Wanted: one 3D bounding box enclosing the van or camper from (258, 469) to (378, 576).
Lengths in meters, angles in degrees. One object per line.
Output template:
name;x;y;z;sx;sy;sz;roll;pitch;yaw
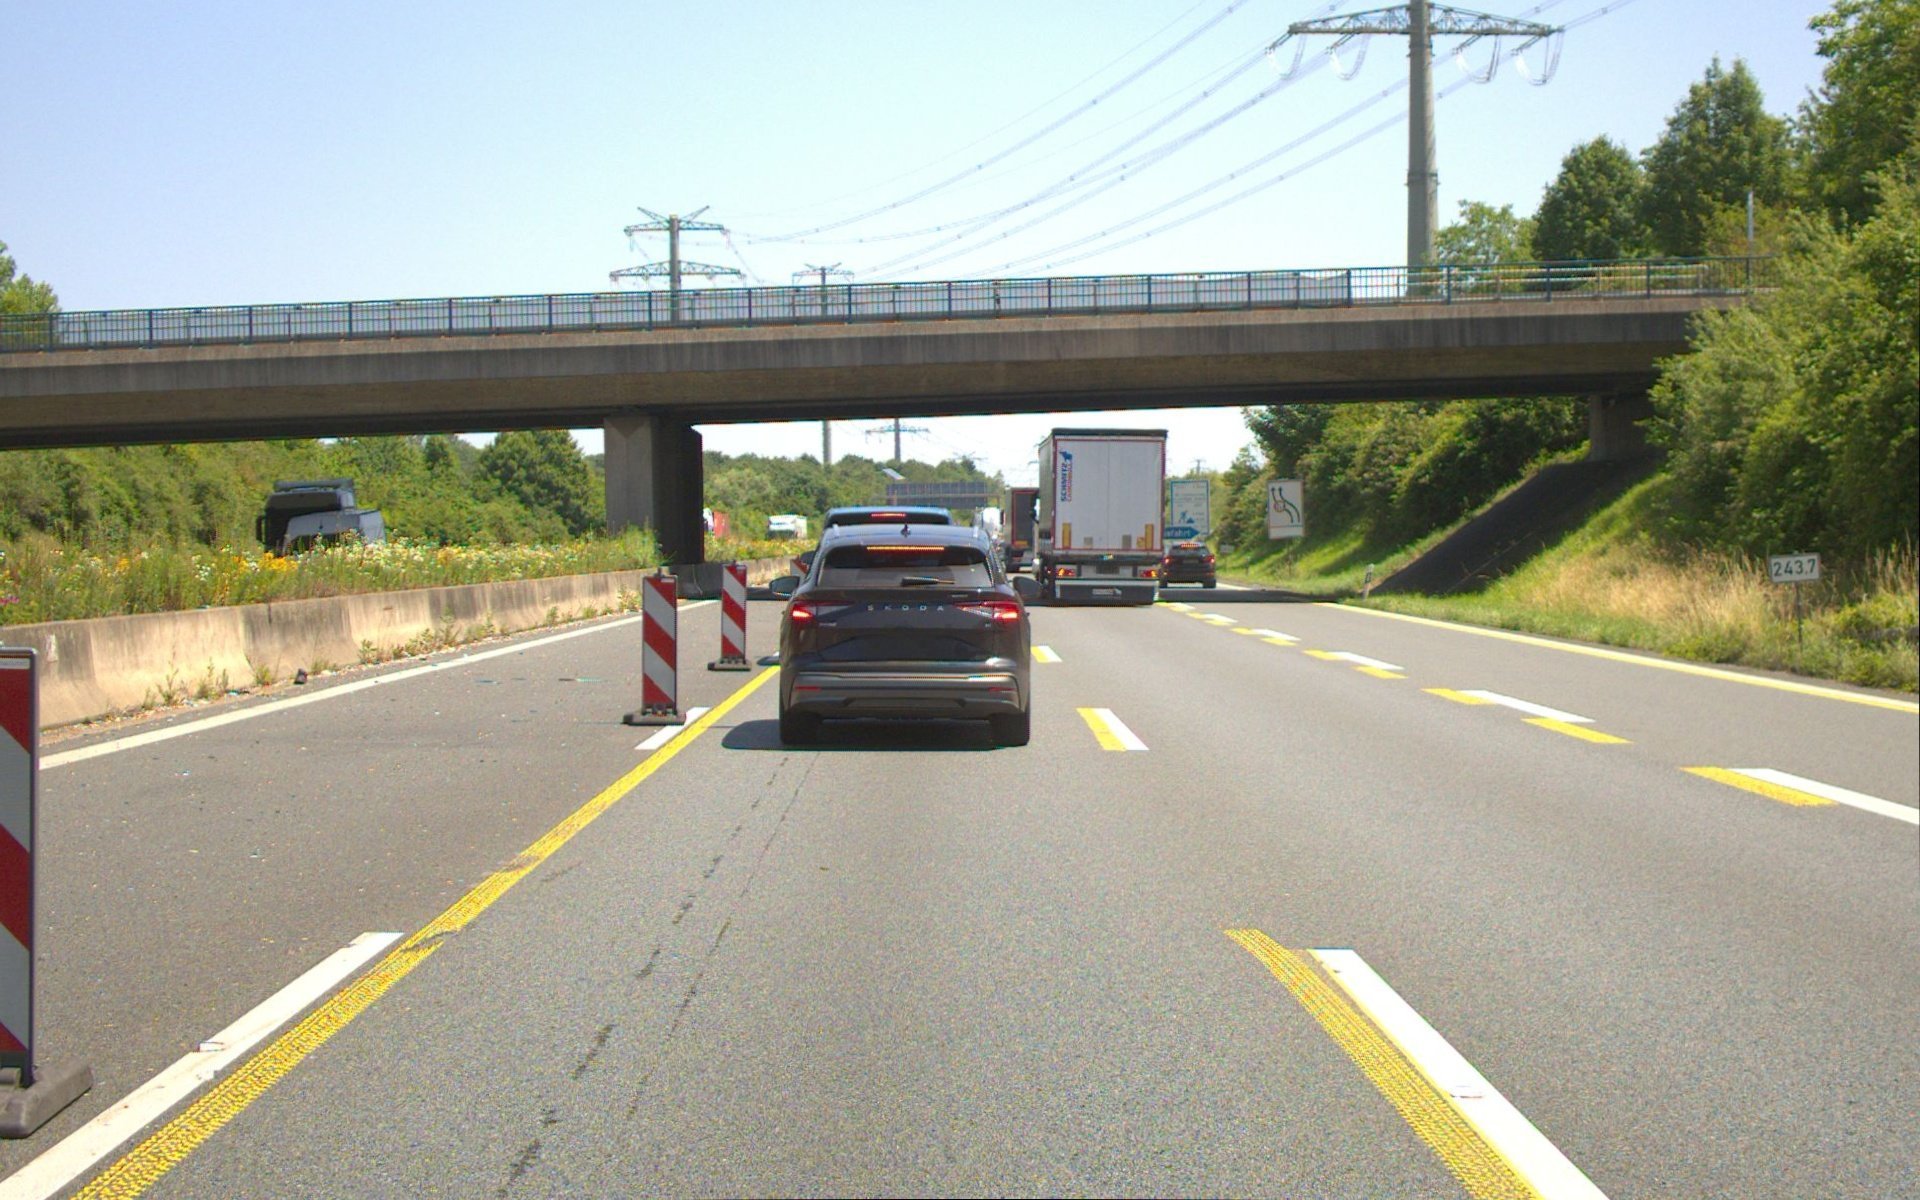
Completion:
van or camper;-19.660;-2.388;105.579;2.570;3.176;6.233;0;1;-1

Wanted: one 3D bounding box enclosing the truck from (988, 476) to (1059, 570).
truck;2.910;-3.585;160.735;3.078;4.132;13.055;1;1;0

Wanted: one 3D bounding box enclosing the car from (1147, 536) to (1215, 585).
car;7.042;-1.271;109.832;1.779;1.484;4.464;1;1;-1

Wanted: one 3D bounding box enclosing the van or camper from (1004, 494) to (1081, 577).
van or camper;2.977;-2.367;125.101;2.586;2.958;6.085;0;1;-1

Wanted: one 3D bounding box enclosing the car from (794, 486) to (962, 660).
car;-1.023;-0.388;42.459;1.895;1.835;4.444;2;4;-2

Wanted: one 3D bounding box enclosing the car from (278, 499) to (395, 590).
car;-15.863;-1.439;87.741;2.112;2.190;5.313;2;1;-2

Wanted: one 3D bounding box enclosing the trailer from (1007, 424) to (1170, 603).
trailer;2.966;-2.071;82.917;3.065;4.028;11.489;0;1;-2

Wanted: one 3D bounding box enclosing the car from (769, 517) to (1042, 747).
car;-0.444;0.169;26.192;1.895;1.586;4.443;0;2;-2

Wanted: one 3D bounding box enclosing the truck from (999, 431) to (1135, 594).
truck;2.725;-2.275;89.754;3.024;4.073;7.796;0;1;-2
